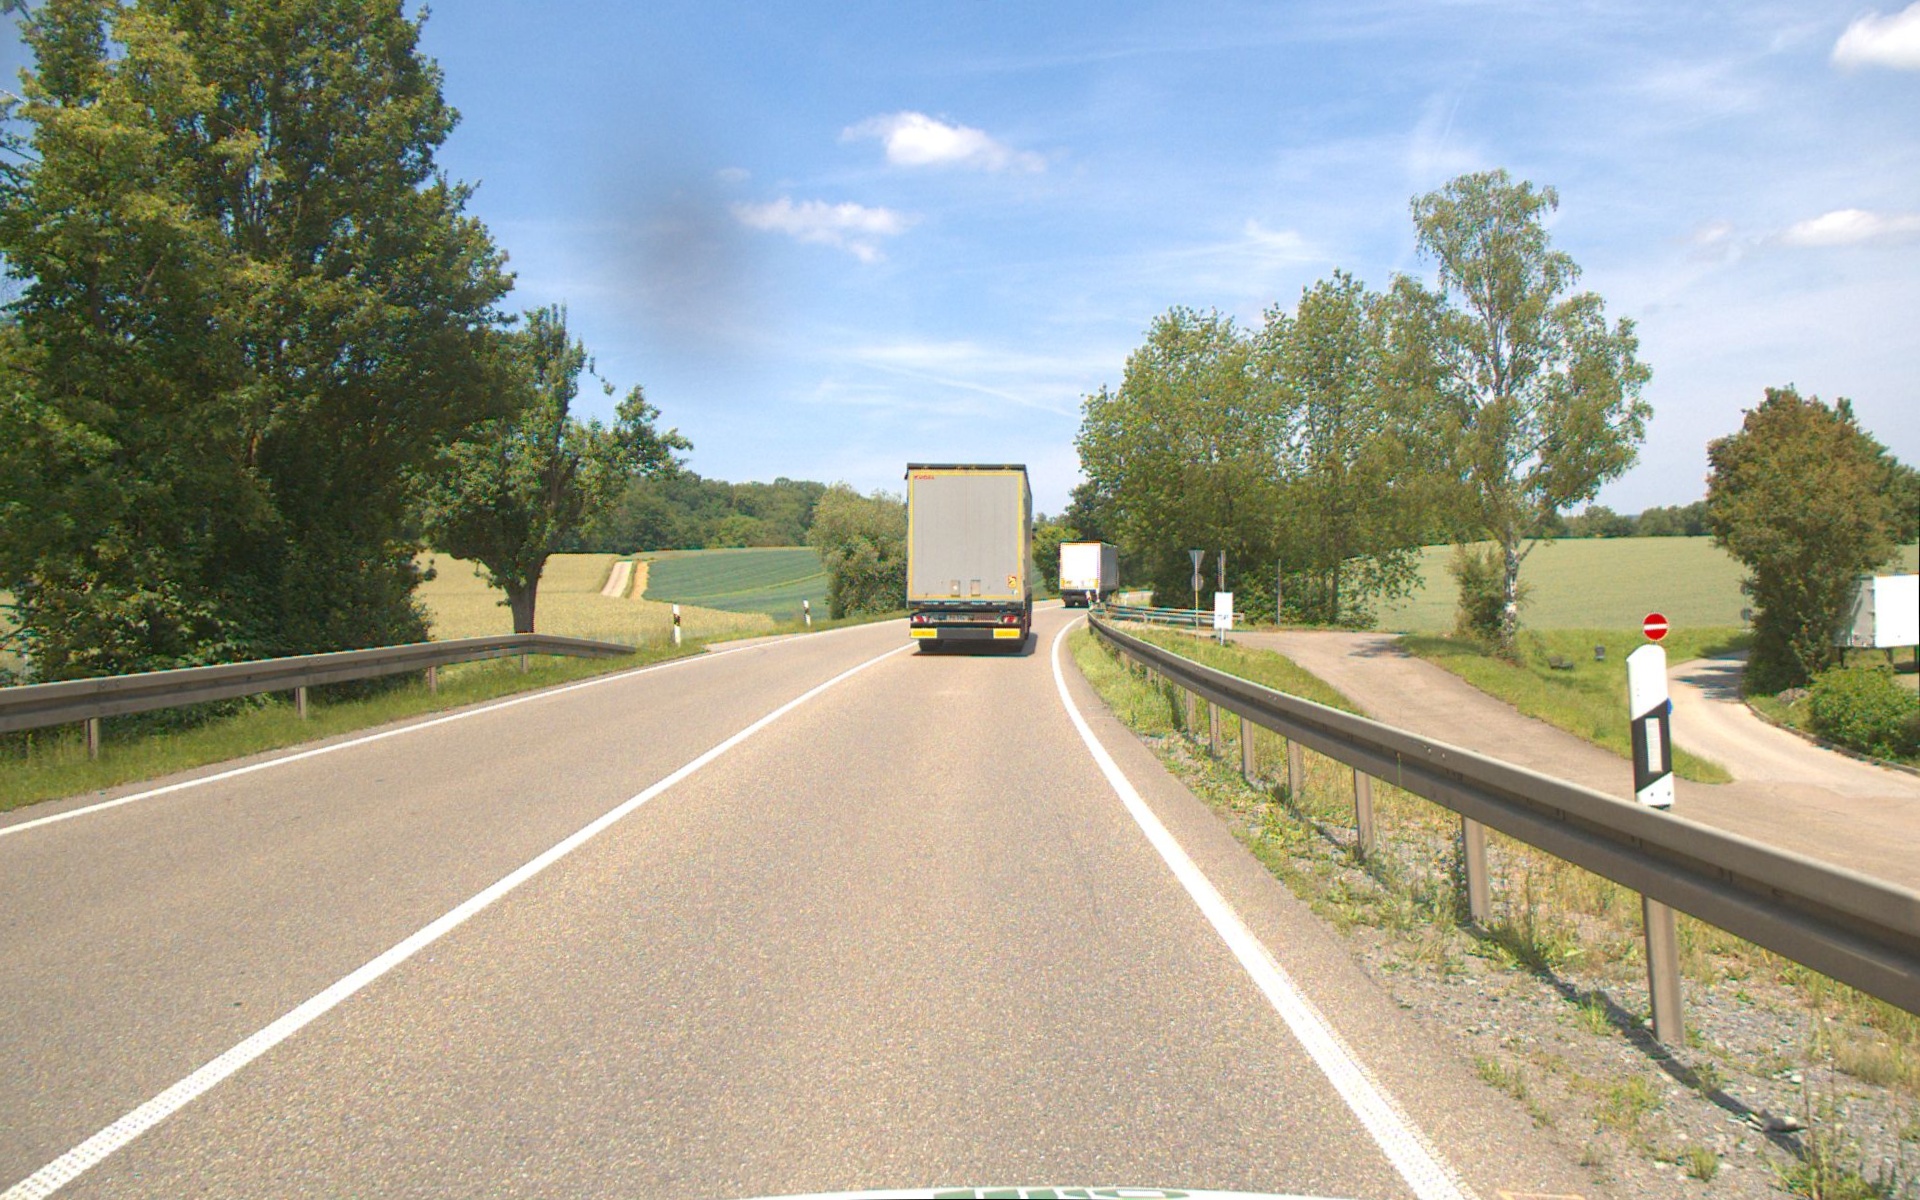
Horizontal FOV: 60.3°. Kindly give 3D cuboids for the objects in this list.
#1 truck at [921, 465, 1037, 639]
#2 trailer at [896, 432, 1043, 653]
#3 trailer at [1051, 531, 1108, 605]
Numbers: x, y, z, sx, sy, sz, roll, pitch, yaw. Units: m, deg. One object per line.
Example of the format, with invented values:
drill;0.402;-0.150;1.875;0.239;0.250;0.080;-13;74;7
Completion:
truck;0.643;-1.303;47.056;3.053;4.573;6.813;0;0;2
trailer;0.432;-1.260;41.305;3.053;4.578;13.890;0;1;2
trailer;7.921;-1.917;108.226;3.294;4.392;13.872;0;-1;6
